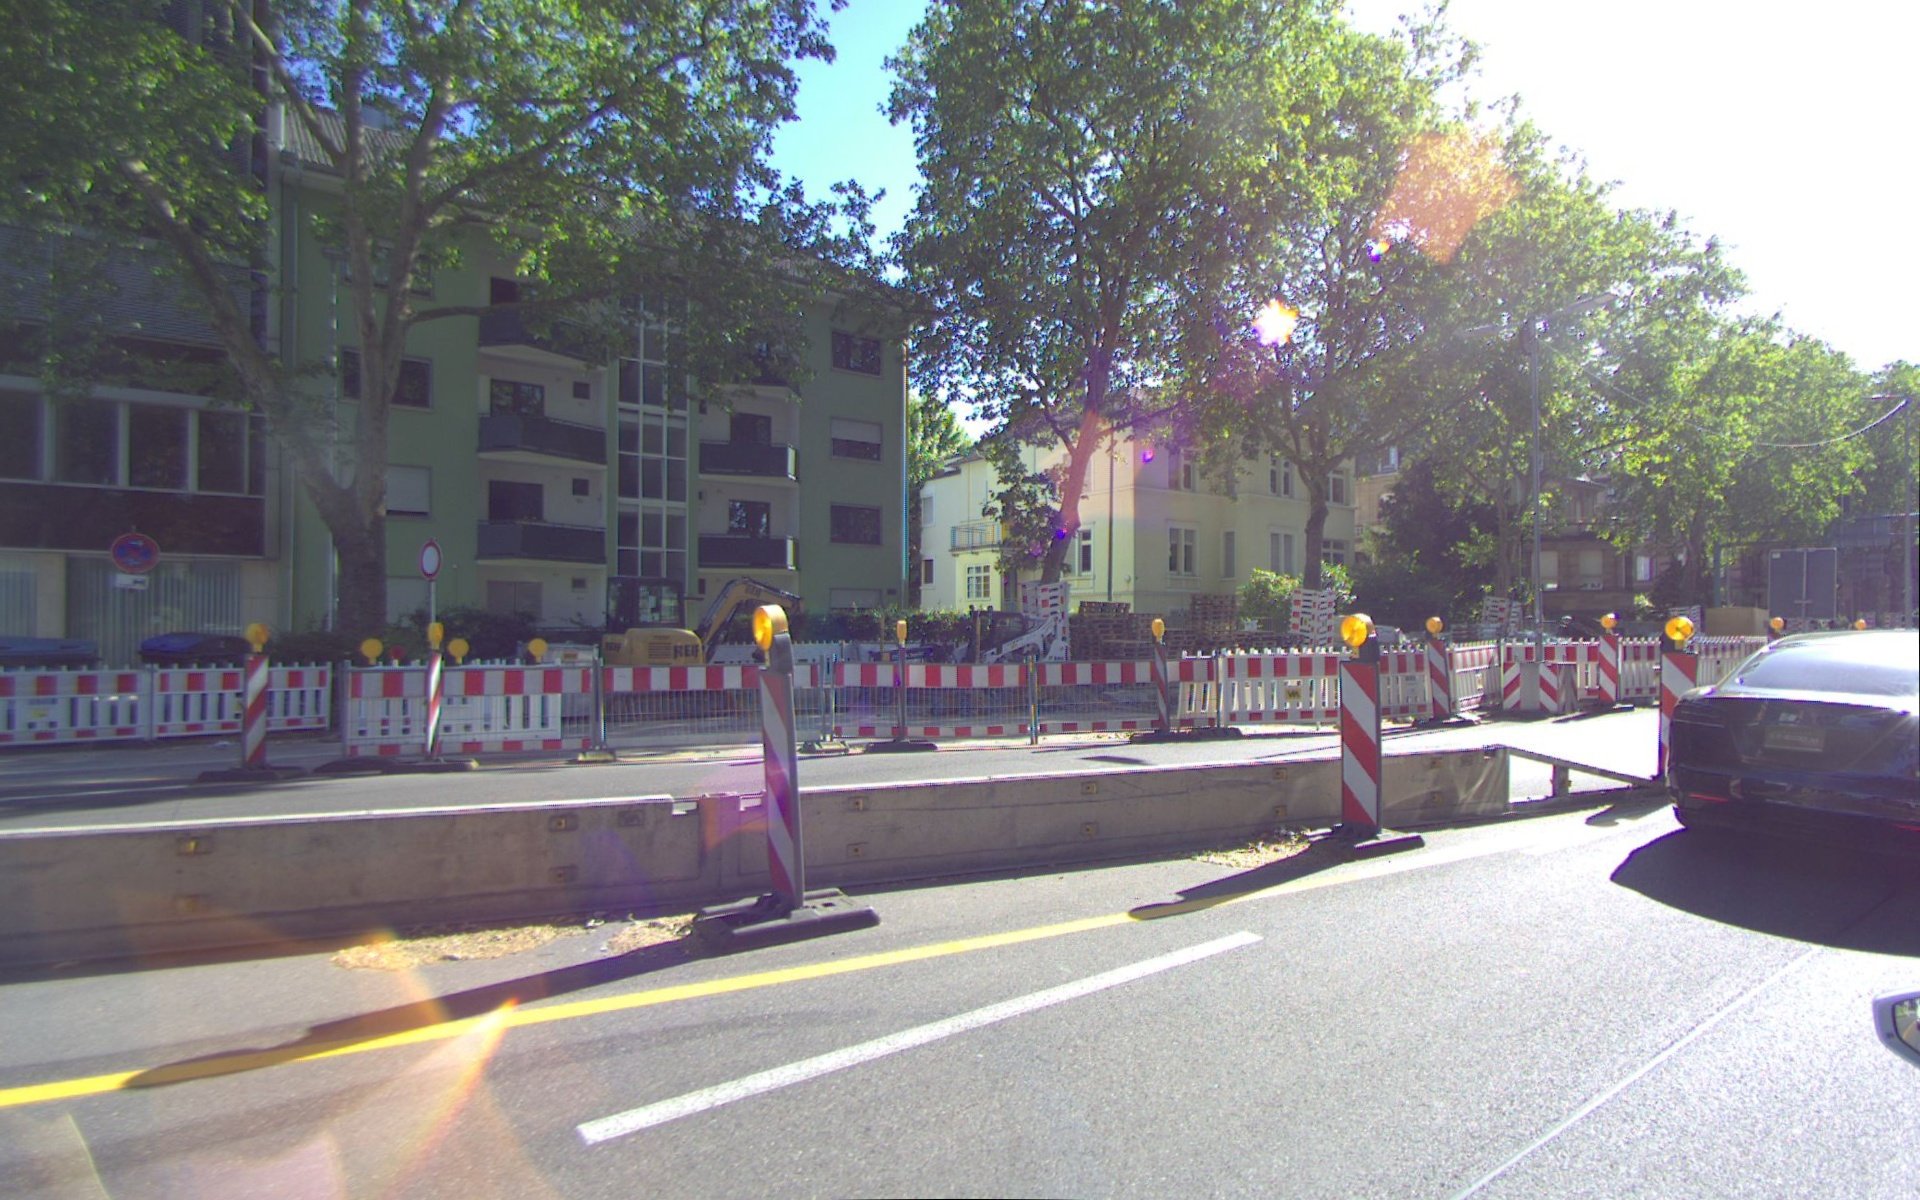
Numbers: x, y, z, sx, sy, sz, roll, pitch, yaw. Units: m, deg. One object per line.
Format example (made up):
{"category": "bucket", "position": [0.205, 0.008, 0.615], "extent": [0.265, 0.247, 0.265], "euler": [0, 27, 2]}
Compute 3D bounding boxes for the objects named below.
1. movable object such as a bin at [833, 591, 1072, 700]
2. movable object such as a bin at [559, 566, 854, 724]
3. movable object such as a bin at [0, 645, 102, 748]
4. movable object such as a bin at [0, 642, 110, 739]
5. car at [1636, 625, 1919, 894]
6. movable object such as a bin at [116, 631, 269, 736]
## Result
{"category": "movable object such as a bin", "position": [-0.094, 1.055, 23.776], "extent": [5.541, 2.308, 1.981], "euler": [1, -2, -34]}
{"category": "movable object such as a bin", "position": [-4.912, 0.843, 19.992], "extent": [5.310, 2.742, 2.129], "euler": [1, -1, -40]}
{"category": "movable object such as a bin", "position": [-12.588, 1.278, 13.497], "extent": [1.526, 1.287, 0.972], "euler": [1, -1, -37]}
{"category": "movable object such as a bin", "position": [-13.174, 1.270, 14.319], "extent": [1.526, 1.287, 0.972], "euler": [1, -1, -37]}
{"category": "car", "position": [6.842, 0.909, 7.081], "extent": [4.578, 1.430, 1.913], "euler": [1, -1, -34]}
{"category": "movable object such as a bin", "position": [-11.447, 1.198, 15.004], "extent": [1.605, 1.441, 1.261], "euler": [0, -1, 28]}
